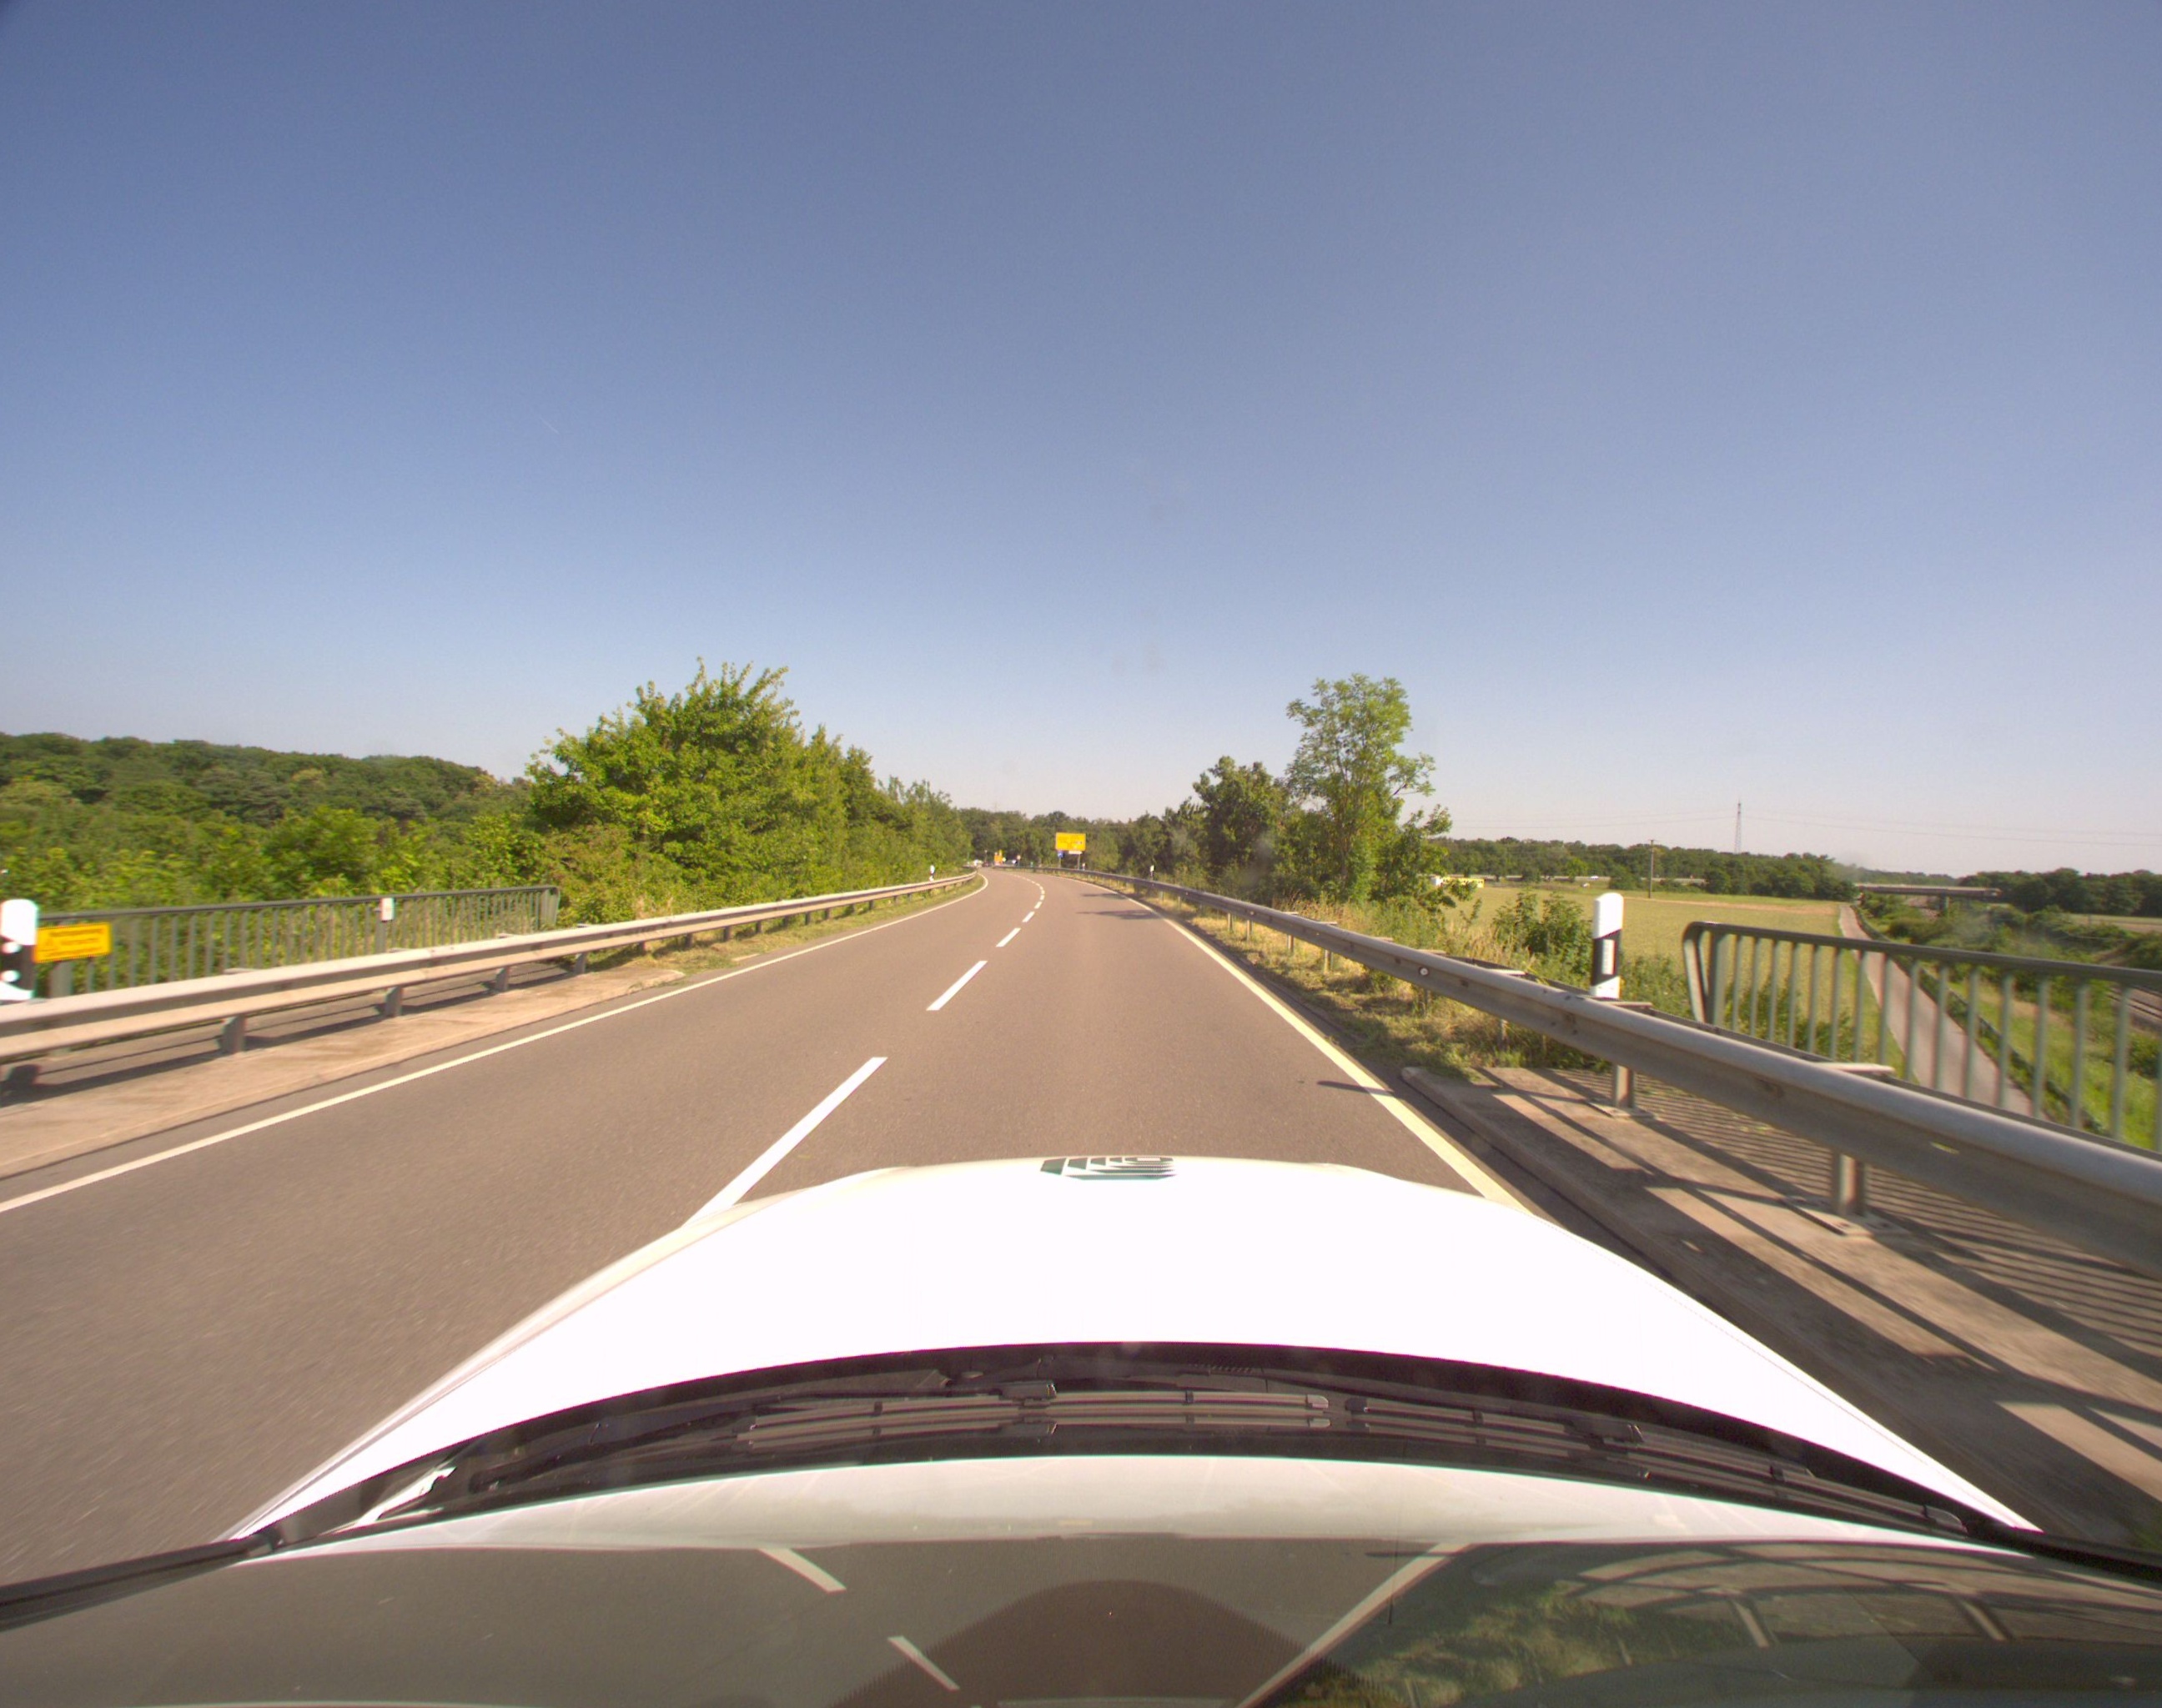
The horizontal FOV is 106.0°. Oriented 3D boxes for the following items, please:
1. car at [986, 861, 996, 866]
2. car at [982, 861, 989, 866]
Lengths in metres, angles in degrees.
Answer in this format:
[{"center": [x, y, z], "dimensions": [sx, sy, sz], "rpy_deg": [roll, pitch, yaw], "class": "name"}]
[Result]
[{"center": [-26.823, 2.858, 242.879], "dimensions": [1.790, 1.501, 4.008], "rpy_deg": [2, -1, 7], "class": "car"}, {"center": [-27.536, 2.795, 235.521], "dimensions": [1.797, 1.398, 3.992], "rpy_deg": [-7, 0, -6], "class": "car"}]
